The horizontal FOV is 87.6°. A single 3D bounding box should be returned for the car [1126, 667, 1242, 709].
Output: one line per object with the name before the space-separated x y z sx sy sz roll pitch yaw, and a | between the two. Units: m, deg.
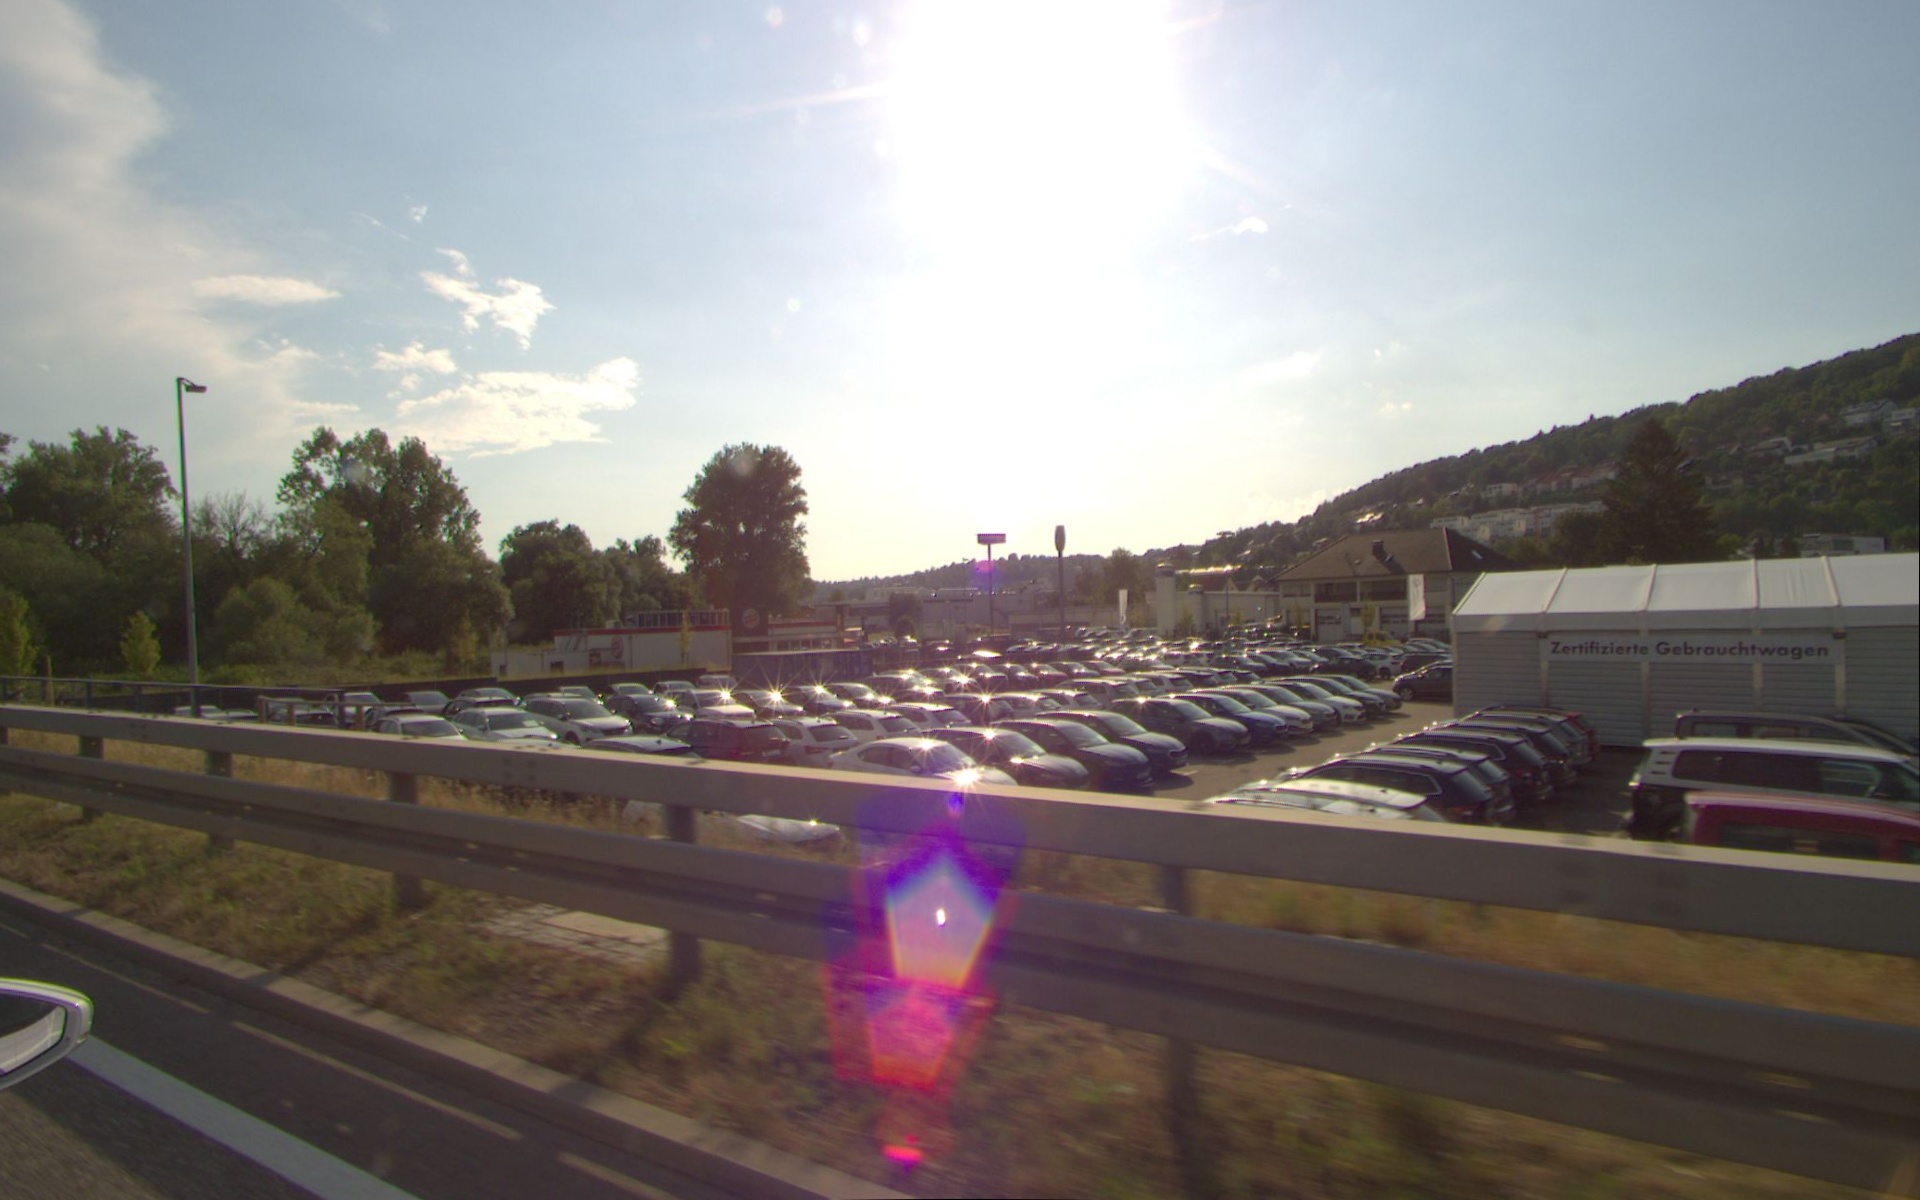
car | 9.930 3.852 44.558 4.670 1.657 1.873 -2 -2 37

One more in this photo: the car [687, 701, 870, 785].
car | -4.709 3.597 25.797 4.599 1.737 1.833 -1 -2 31

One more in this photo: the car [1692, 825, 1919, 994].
car | 11.721 3.942 12.632 3.952 1.490 1.663 -2 -2 39

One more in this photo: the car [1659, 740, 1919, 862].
car | 14.899 3.388 17.089 4.678 1.541 1.870 -2 -2 42

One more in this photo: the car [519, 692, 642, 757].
car | -11.837 3.808 31.122 3.949 1.705 1.769 -2 -2 37

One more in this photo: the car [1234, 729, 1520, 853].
car | 7.761 3.461 18.866 4.671 1.657 1.873 -2 -2 38

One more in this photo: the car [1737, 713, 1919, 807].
car | 19.645 3.490 22.068 3.952 1.705 1.768 -2 -2 39

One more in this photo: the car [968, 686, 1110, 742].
car | 2.729 3.927 35.030 4.666 1.657 1.875 -2 -2 35

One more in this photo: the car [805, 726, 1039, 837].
car | -0.855 3.591 20.509 4.669 1.657 1.874 -2 -2 37

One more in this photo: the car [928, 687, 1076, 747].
car | 1.335 3.824 33.213 4.668 1.657 1.874 -2 -2 36

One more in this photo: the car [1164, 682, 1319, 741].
car | 9.387 3.686 33.591 4.670 1.657 1.873 -2 -2 38

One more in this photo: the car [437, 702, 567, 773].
car | -13.374 3.931 29.182 3.948 1.705 1.770 -2 -2 36

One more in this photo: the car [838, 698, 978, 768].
car | -1.555 3.833 29.399 3.952 1.705 1.768 -2 -2 39

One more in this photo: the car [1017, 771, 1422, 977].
car | 3.209 3.280 12.787 4.664 1.646 1.876 -1 -2 34

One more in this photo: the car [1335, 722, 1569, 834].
car | 9.820 3.468 20.114 3.952 1.705 1.768 -2 -2 39

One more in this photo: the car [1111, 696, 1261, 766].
car | 6.627 3.802 29.566 3.952 1.705 1.768 -2 -2 39

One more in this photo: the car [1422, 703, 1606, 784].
car | 14.327 3.648 25.984 3.952 1.705 1.768 -2 -2 39

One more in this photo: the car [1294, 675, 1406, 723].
car | 15.865 3.999 40.819 3.952 1.705 1.768 -2 -2 39

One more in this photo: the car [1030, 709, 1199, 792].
car | 3.920 3.781 25.686 3.952 1.705 1.768 -2 -2 39

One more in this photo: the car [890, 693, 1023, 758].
car | -0.131 3.887 31.431 3.950 1.705 1.769 -2 -2 38

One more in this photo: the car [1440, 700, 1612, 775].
car | 15.692 3.743 27.838 3.952 1.705 1.768 -2 -2 39

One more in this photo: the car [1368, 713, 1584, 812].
car | 11.274 3.471 22.005 3.952 1.705 1.768 -2 -2 39

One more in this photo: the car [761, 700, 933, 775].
car | -3.169 3.729 27.657 4.665 1.657 1.875 -2 -2 34

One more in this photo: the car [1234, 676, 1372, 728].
car | 12.708 3.729 37.244 4.516 1.657 1.873 -2 -2 38

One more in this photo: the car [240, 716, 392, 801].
car | -16.228 3.912 25.208 3.944 1.705 1.771 -1 -2 33

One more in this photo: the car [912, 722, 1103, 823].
car | 0.992 3.698 22.068 3.952 1.705 1.768 -2 -2 39

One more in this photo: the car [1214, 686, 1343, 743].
car | 11.150 3.962 35.166 3.952 1.705 1.768 -2 -2 39

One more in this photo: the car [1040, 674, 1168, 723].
car | 5.589 3.795 39.115 4.670 1.657 1.873 -2 -2 37

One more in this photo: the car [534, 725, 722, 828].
car | -7.158 3.689 21.503 3.944 1.705 1.772 -1 -2 33

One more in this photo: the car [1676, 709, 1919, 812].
car | 17.612 3.218 20.466 4.678 1.657 1.870 -2 -2 42

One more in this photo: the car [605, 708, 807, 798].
car | -6.090 3.542 23.860 4.661 1.671 1.996 -1 -2 31

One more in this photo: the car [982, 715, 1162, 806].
car | 2.621 3.739 23.869 3.952 1.705 1.768 -2 -2 39

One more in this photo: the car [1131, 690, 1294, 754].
car | 7.947 3.789 31.720 4.670 1.657 1.873 -2 -2 38

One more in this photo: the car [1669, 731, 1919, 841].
car | 16.295 3.447 18.814 4.678 1.541 1.870 -2 -2 42

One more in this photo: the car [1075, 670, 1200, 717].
car | 7.164 3.753 40.680 4.670 1.657 1.873 -2 -2 37

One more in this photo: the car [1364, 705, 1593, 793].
car | 12.491 3.509 24.278 4.671 1.657 1.873 -2 -2 38

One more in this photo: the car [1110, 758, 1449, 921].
car | 4.834 3.528 15.493 4.668 1.657 1.874 -2 -2 36

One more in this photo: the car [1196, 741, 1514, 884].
car | 6.522 3.411 16.792 4.667 1.657 1.874 -2 -2 36

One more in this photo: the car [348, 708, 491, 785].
car | -14.687 3.897 27.159 3.944 1.705 1.771 -1 -2 33

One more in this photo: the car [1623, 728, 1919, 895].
car | 12.963 3.115 15.147 4.678 1.955 1.870 -2 -2 42

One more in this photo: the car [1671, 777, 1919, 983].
car | 10.297 2.966 10.423 4.670 1.646 1.873 -2 -2 38

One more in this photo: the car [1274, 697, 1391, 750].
car | 14.431 4.749 38.883 3.952 1.705 1.768 -2 -2 39
